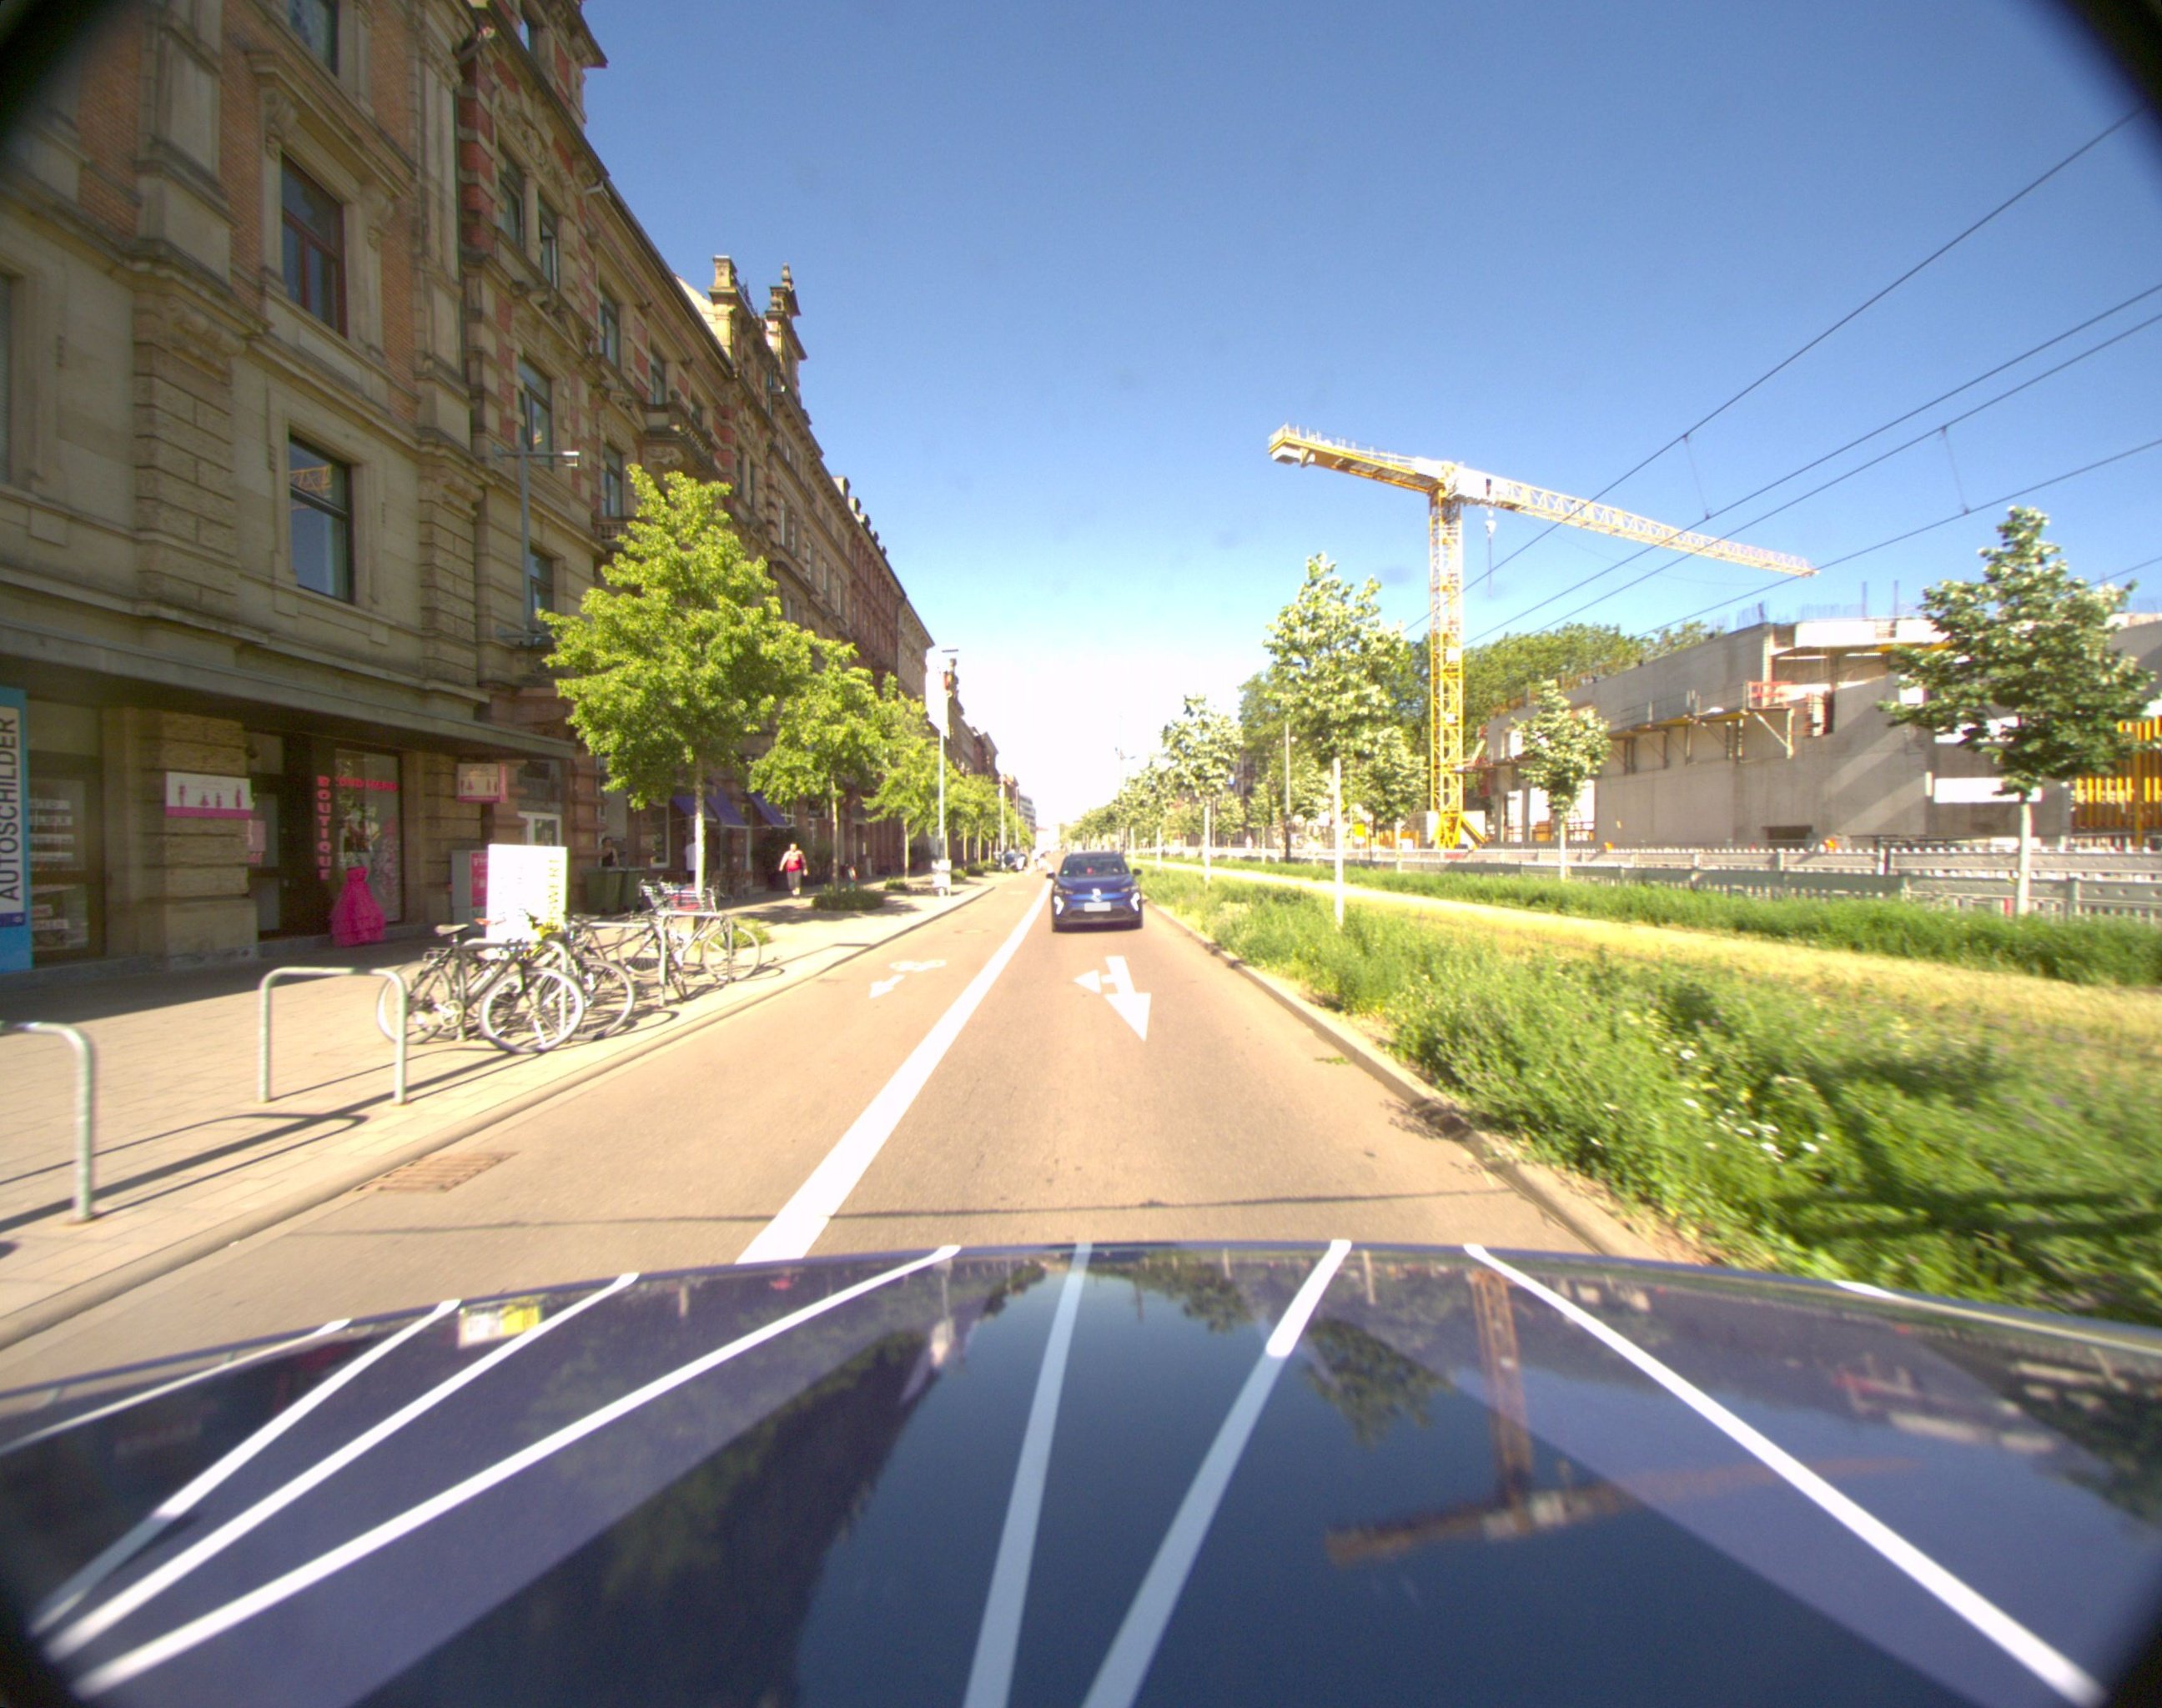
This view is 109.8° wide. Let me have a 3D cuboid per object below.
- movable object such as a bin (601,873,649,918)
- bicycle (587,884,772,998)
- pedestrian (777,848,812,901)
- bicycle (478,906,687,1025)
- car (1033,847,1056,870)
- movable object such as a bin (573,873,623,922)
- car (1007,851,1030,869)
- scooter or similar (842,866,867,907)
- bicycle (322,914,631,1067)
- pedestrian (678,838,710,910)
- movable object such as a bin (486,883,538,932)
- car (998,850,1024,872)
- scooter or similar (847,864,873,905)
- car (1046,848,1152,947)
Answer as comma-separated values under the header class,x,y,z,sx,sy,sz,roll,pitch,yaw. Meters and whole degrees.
class,x,y,z,sx,sy,sz,roll,pitch,yaw
movable object such as a bin,-10.415,0.938,17.364,0.692,0.969,0.587,-1,2,4
bicycle,-4.873,1.045,9.310,1.869,1.245,0.692,2,2,-2
pedestrian,-8.763,0.609,23.267,0.753,1.575,0.808,1,1,0
bicycle,-5.017,1.121,7.730,1.668,1.104,0.602,2,2,-8
car,-3.067,0.317,64.701,1.669,1.787,3.748,-3,1,0
movable object such as a bin,-10.555,0.939,16.618,0.692,1.007,0.587,1,2,4
car,-5.431,0.505,66.208,1.669,1.453,3.748,-3,1,0
scooter or similar,-6.605,0.947,22.162,0.637,1.166,0.290,0,1,22
bicycle,-4.945,1.104,6.296,2.054,1.114,0.603,1,2,-1
pedestrian,-10.030,0.512,19.711,0.512,1.839,0.501,-1,1,7
movable object such as a bin,-10.629,0.990,14.206,0.606,0.861,0.476,1,2,4
car,-5.488,0.515,59.976,1.669,1.574,3.748,-3,1,0
scooter or similar,-6.637,0.895,22.793,0.672,1.213,0.327,0,1,22
car,0.272,0.749,15.162,1.749,1.613,4.152,-3,0,-1
